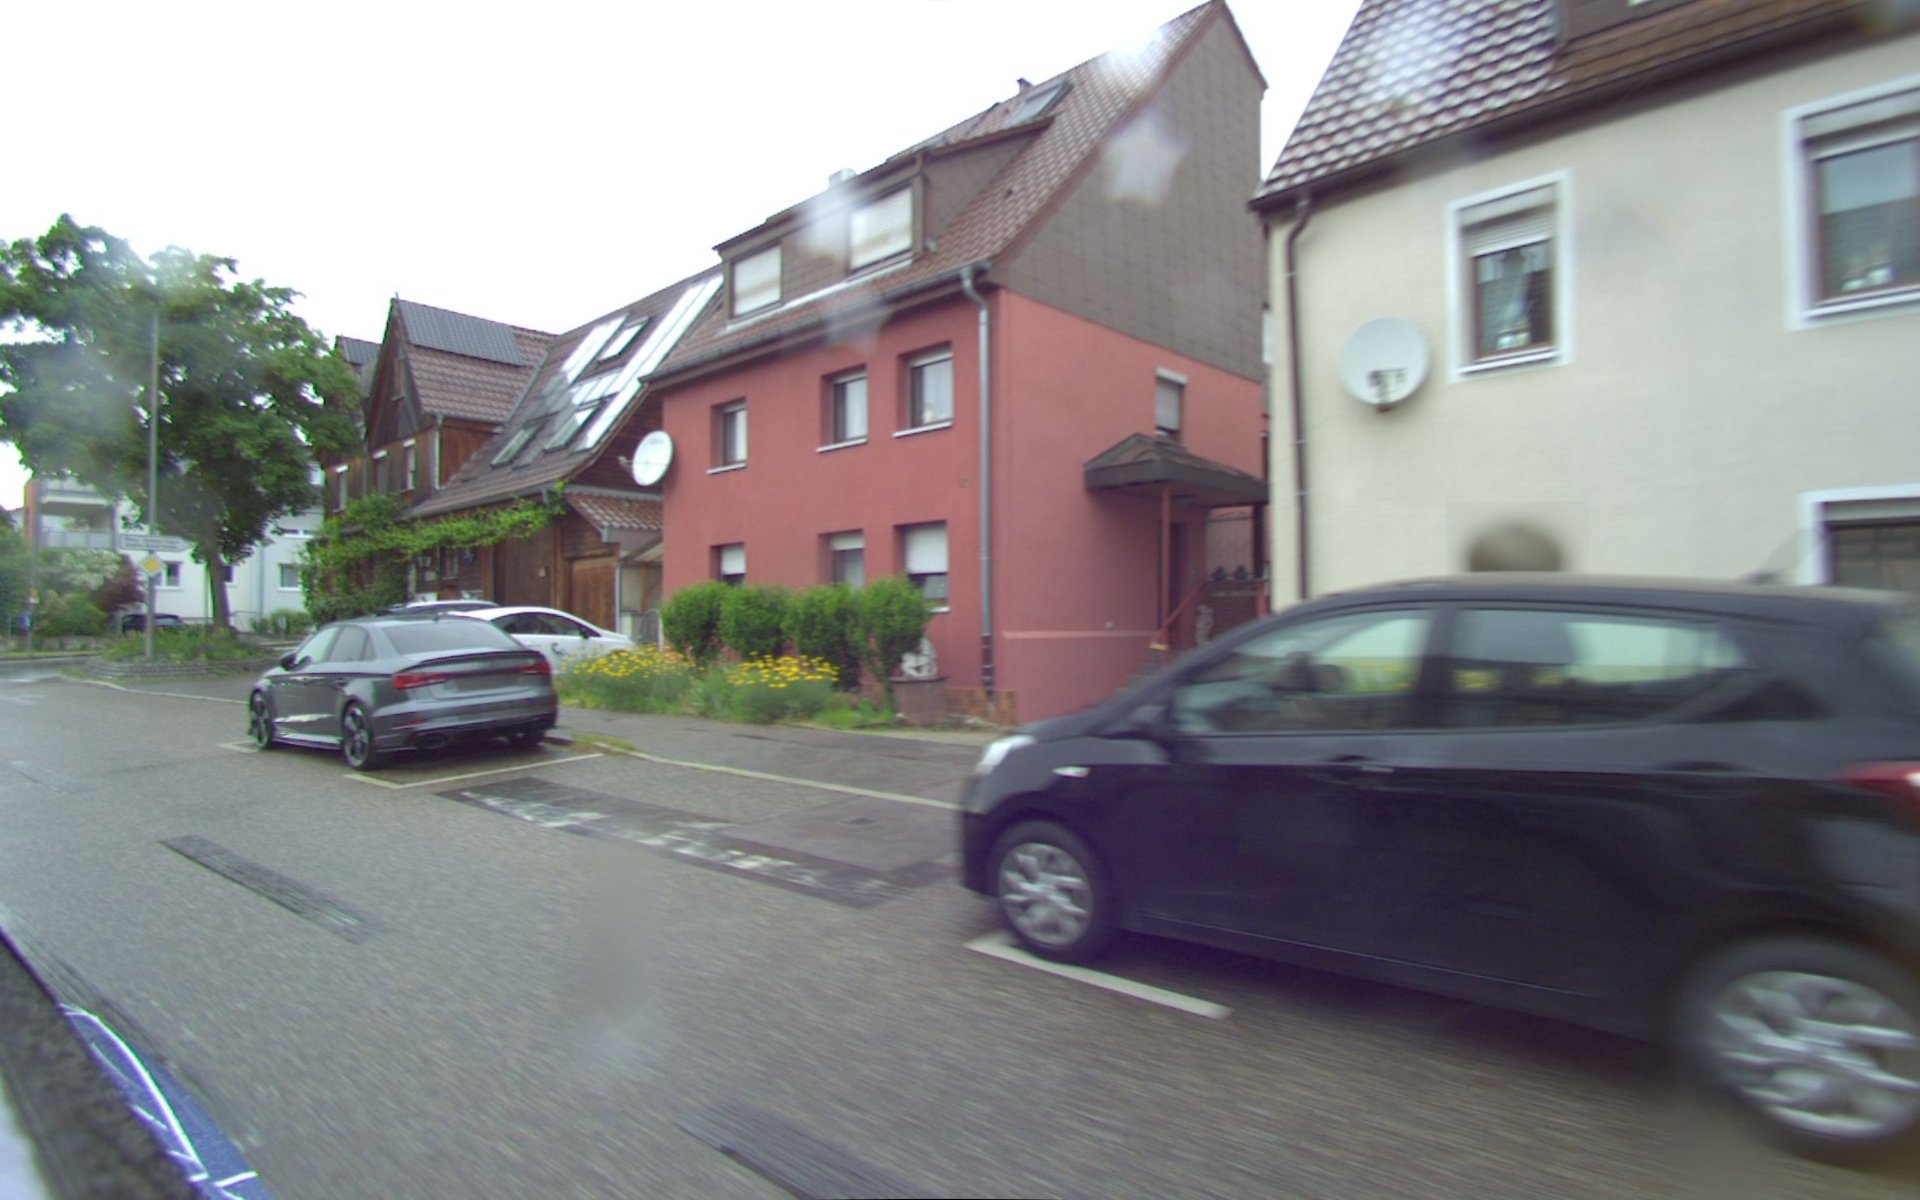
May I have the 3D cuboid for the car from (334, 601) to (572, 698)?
[{"bbox_3d":[-9.368,0.853,18.855,1.856,1.517,3.536,-2,1,44],"label":"car"}]

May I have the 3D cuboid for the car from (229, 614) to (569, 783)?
[{"bbox_3d":[-5.882,0.876,10.418,4.105,1.366,1.611,-1,0,39],"label":"car"}]

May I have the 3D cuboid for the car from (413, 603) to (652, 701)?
[{"bbox_3d":[-7.232,0.817,17.306,1.590,1.490,3.424,-2,-1,42],"label":"car"}]

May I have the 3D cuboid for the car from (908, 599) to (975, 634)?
[{"bbox_3d":[-1.074,0.945,56.925,1.966,1.851,4.011,1,-2,-32],"label":"car"}]

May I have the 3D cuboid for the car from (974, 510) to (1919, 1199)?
[{"bbox_3d":[1.812,0.641,3.686,3.274,1.630,1.589,-1,-2,40],"label":"car"}]

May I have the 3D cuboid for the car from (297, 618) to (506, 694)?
[{"bbox_3d":[-11.372,1.092,20.747,1.632,1.429,3.409,-1,-2,42],"label":"car"}]

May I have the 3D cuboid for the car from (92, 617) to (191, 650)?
[{"bbox_3d":[-36.826,1.505,45.555,3.594,1.432,1.768,-1,-2,17],"label":"car"}]
